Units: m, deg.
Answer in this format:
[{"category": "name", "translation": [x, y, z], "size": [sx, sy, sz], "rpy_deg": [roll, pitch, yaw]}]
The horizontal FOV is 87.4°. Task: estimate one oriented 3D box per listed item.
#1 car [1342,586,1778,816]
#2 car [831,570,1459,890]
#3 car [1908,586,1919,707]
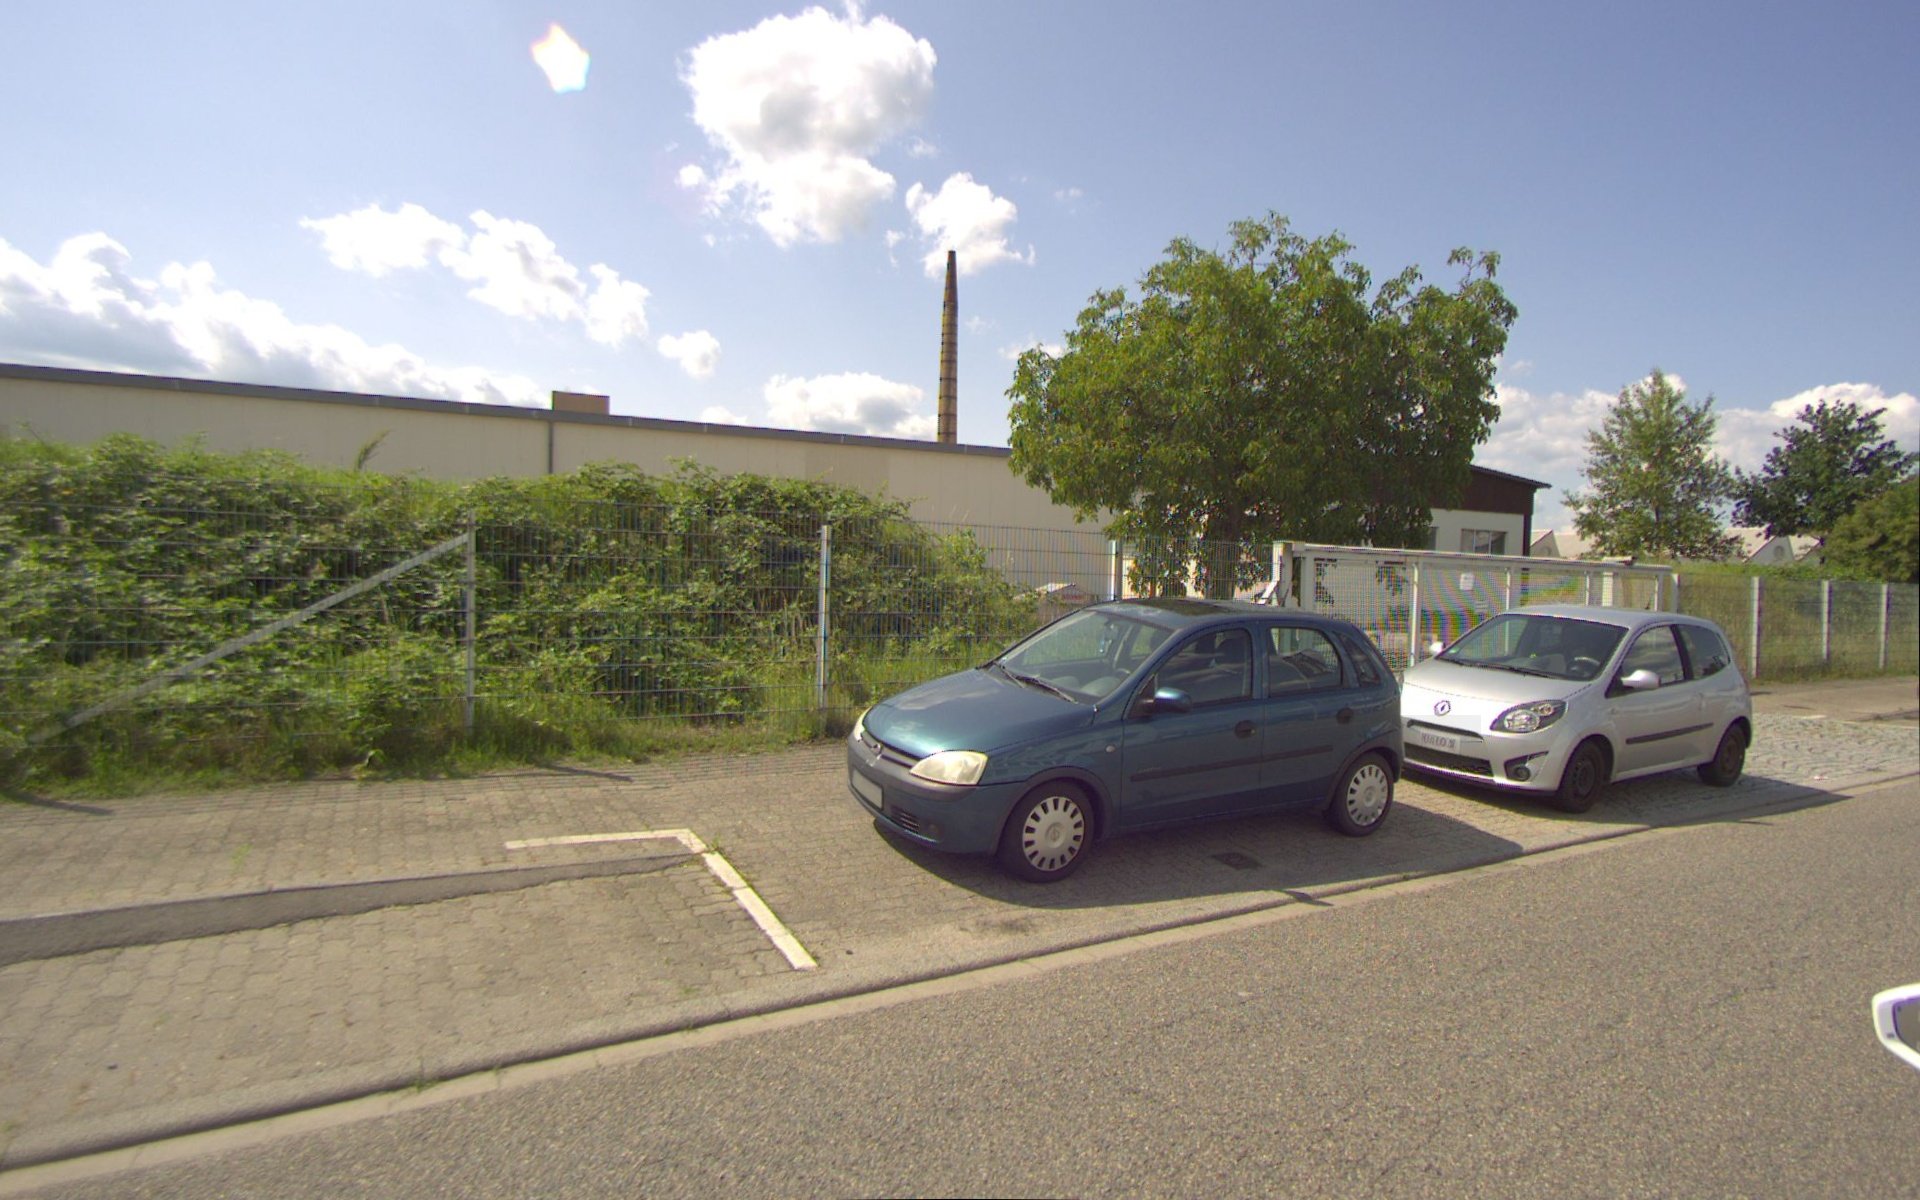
[{"category": "car", "translation": [5.192, 0.714, 8.618], "size": [3.667, 1.503, 1.607], "rpy_deg": [1, 4, -31]}, {"category": "car", "translation": [1.240, 0.635, 6.435], "size": [3.752, 1.418, 1.561], "rpy_deg": [1, 7, -29]}, {"category": "car", "translation": [16.557, 0.741, 15.380], "size": [4.660, 1.773, 1.791], "rpy_deg": [1, 2, -32]}]
